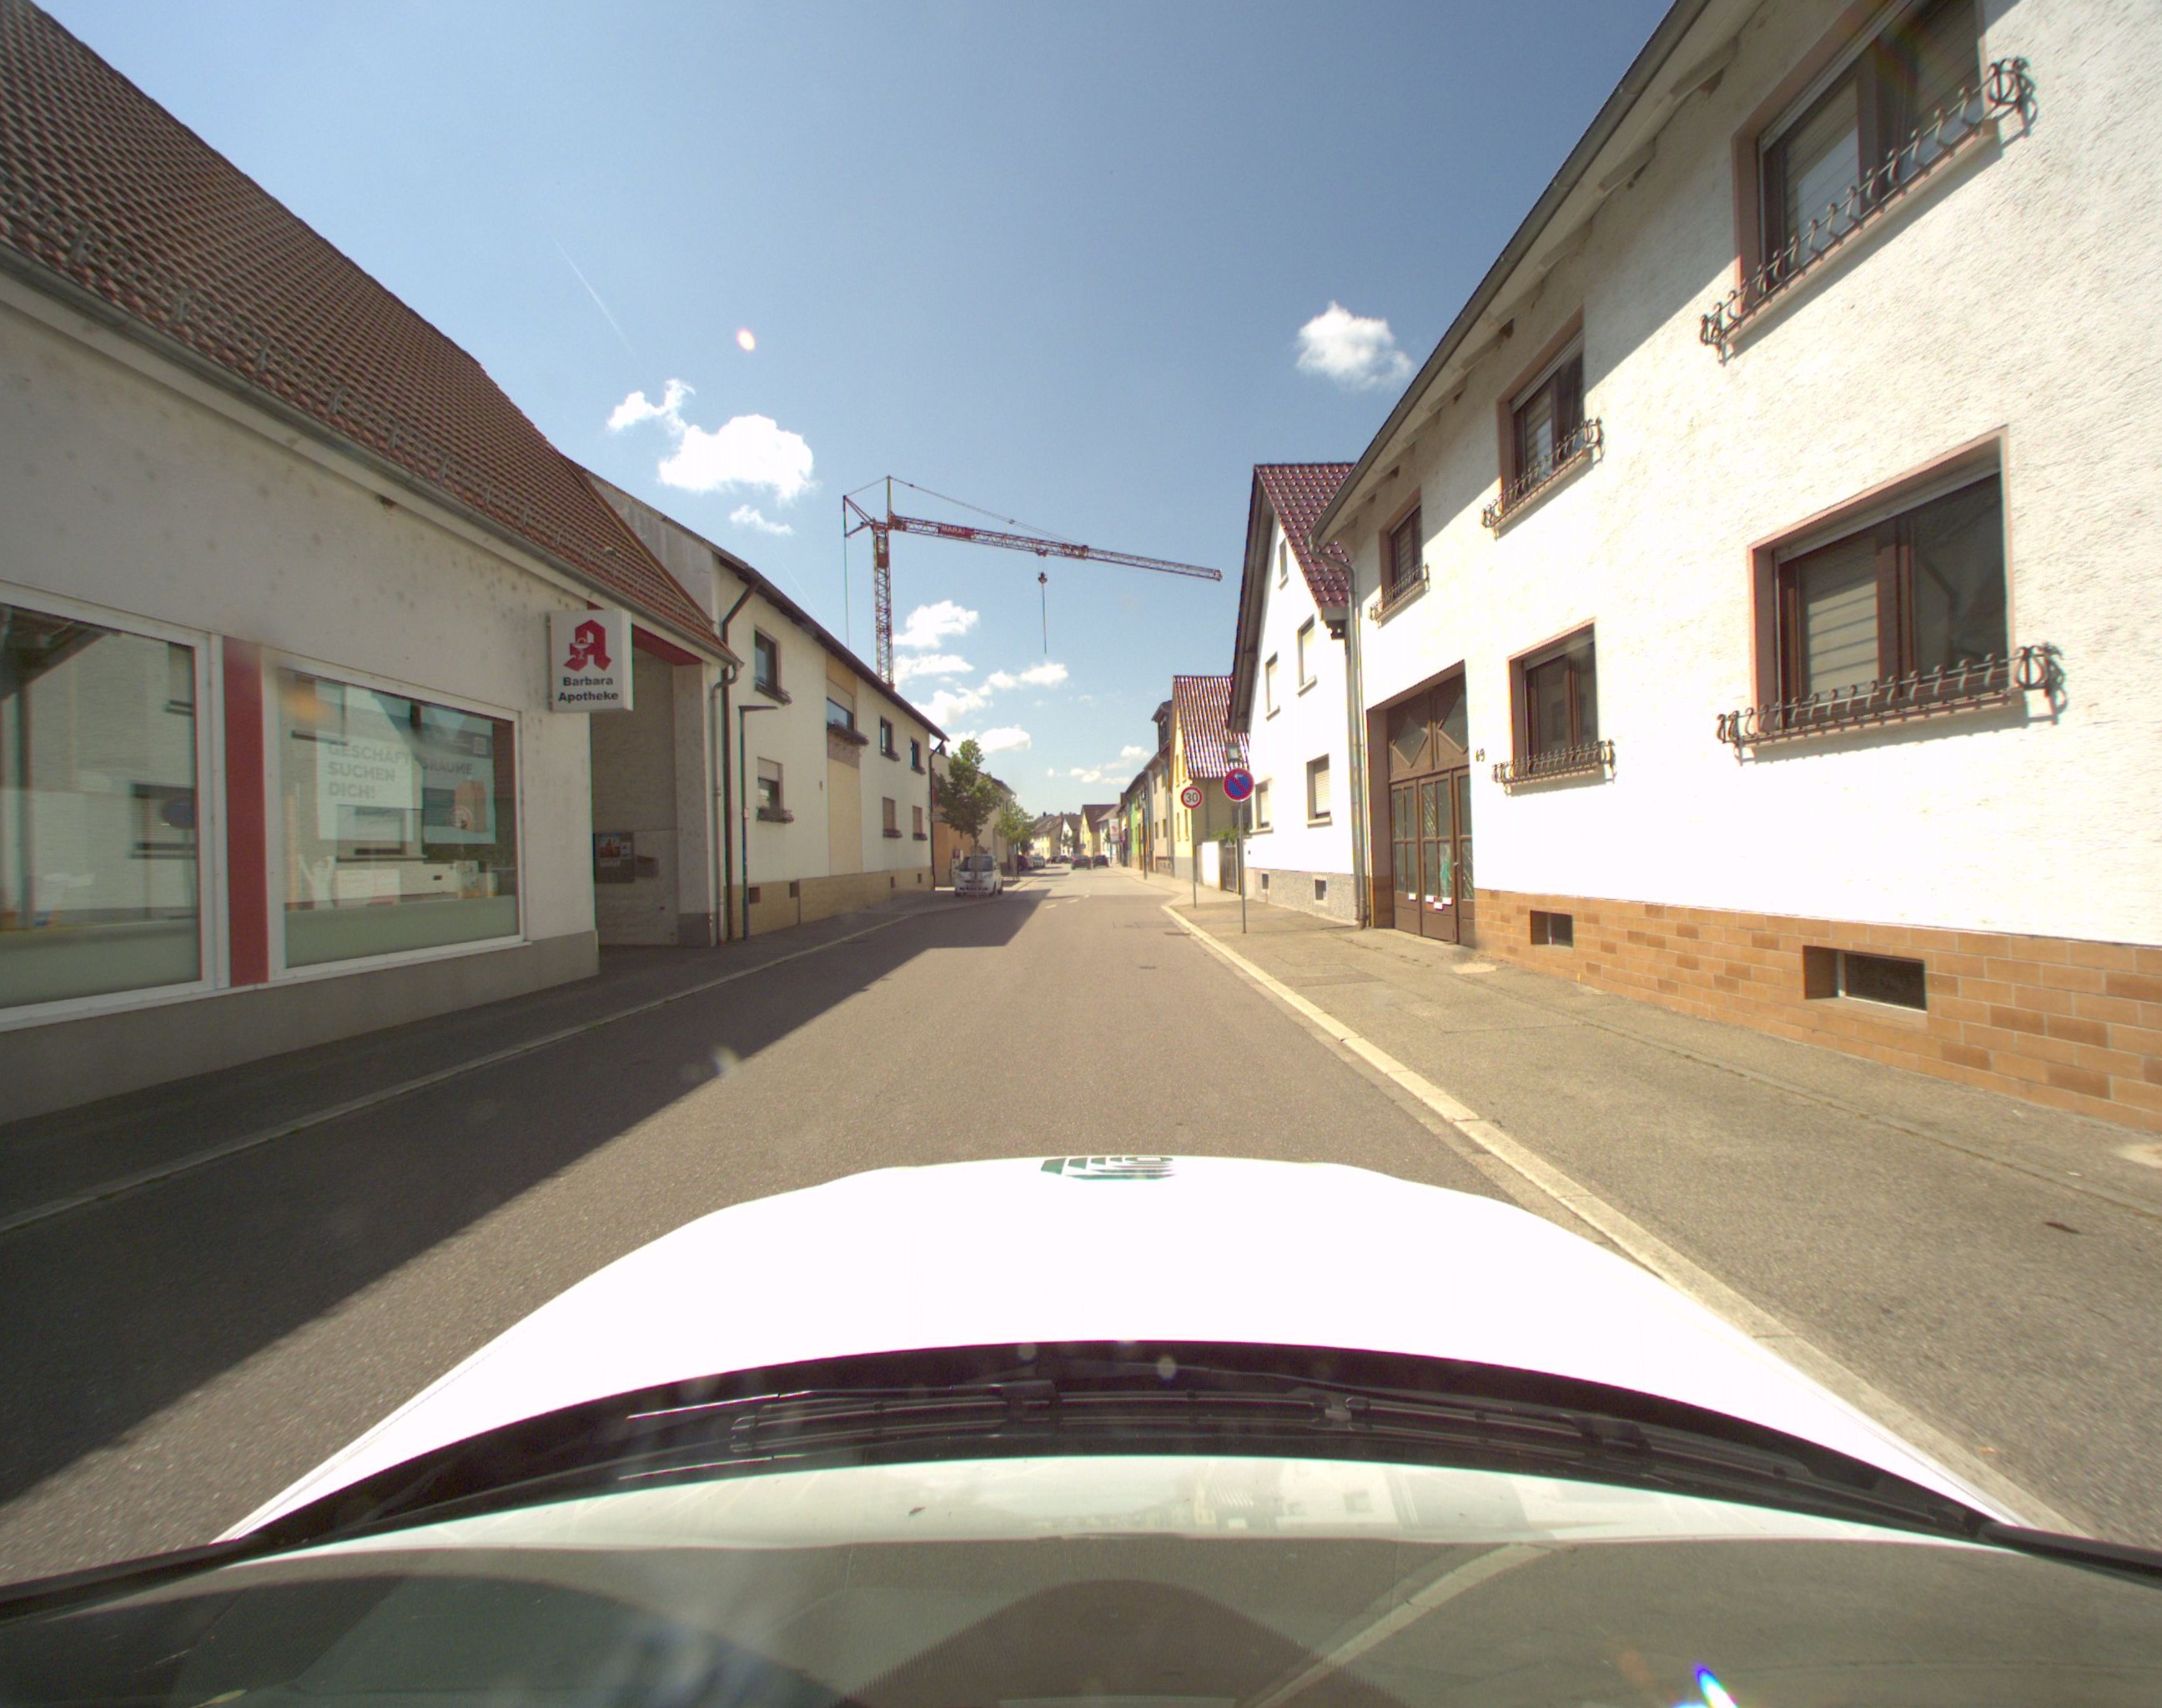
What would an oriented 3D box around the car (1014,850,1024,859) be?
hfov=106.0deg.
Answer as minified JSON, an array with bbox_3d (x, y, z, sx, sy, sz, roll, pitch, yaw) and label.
[{"bbox_3d":[-13.700,0.068,179.191,1.991,2.013,3.991,-2,0,-6],"label":"car"}]

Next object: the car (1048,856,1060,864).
[{"bbox_3d":[-5.133,1.138,155.358,1.712,1.387,3.690,-2,0,-12],"label":"car"}]

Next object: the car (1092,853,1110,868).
[{"bbox_3d":[2.229,0.720,91.517,1.851,1.459,4.587,-4,0,2],"label":"car"}]

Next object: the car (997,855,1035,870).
[{"bbox_3d":[-6.930,0.909,87.060,3.887,1.502,1.751,1,0,1],"label":"car"}]

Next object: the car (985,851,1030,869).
[{"bbox_3d":[-7.105,0.587,79.123,4.207,1.658,1.783,0,0,-1],"label":"car"}]

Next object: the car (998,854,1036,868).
[{"bbox_3d":[-7.008,0.716,89.379,3.975,1.441,1.691,1,0,-1],"label":"car"}]

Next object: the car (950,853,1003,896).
[{"bbox_3d":[-3.903,0.750,30.867,1.567,1.561,2.823,1,0,1],"label":"car"}]

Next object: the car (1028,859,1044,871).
[{"bbox_3d":[-5.548,1.316,100.402,1.752,1.411,3.877,0,0,0],"label":"car"}]

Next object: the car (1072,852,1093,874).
[{"bbox_3d":[0.125,0.894,81.432,1.988,2.058,4.372,-2,0,-1],"label":"car"}]

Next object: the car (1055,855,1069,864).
[{"bbox_3d":[-3.519,1.042,147.917,1.848,1.562,3.678,-2,0,-12],"label":"car"}]

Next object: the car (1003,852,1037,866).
[{"bbox_3d":[-6.914,0.606,92.390,3.680,1.525,1.672,1,0,0],"label":"car"}]
